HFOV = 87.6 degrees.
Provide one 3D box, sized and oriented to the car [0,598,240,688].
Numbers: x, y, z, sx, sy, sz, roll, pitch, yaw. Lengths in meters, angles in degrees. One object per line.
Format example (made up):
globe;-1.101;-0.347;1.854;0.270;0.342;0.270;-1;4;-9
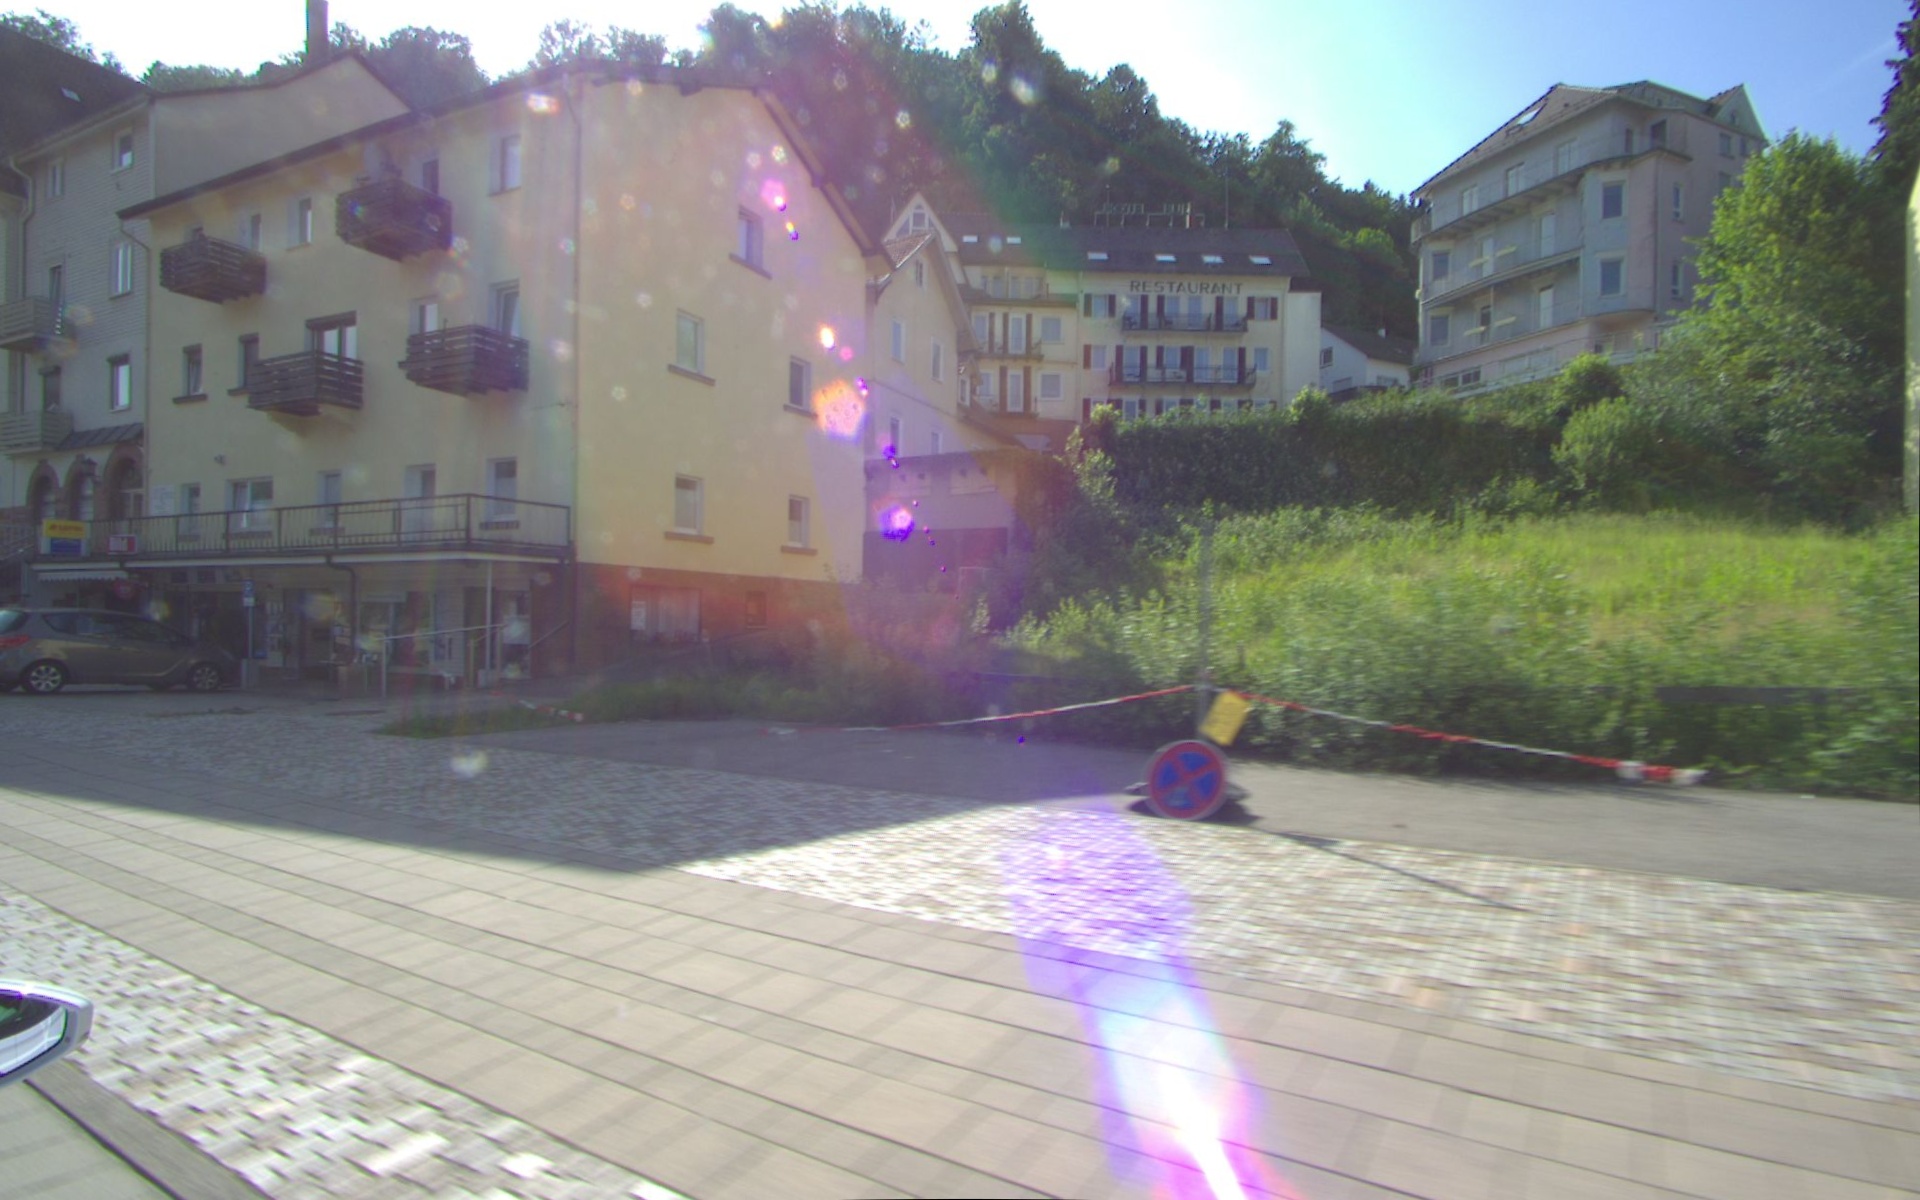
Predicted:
car;-16.713;0.877;19.596;1.732;1.573;3.863;1;-3;25
